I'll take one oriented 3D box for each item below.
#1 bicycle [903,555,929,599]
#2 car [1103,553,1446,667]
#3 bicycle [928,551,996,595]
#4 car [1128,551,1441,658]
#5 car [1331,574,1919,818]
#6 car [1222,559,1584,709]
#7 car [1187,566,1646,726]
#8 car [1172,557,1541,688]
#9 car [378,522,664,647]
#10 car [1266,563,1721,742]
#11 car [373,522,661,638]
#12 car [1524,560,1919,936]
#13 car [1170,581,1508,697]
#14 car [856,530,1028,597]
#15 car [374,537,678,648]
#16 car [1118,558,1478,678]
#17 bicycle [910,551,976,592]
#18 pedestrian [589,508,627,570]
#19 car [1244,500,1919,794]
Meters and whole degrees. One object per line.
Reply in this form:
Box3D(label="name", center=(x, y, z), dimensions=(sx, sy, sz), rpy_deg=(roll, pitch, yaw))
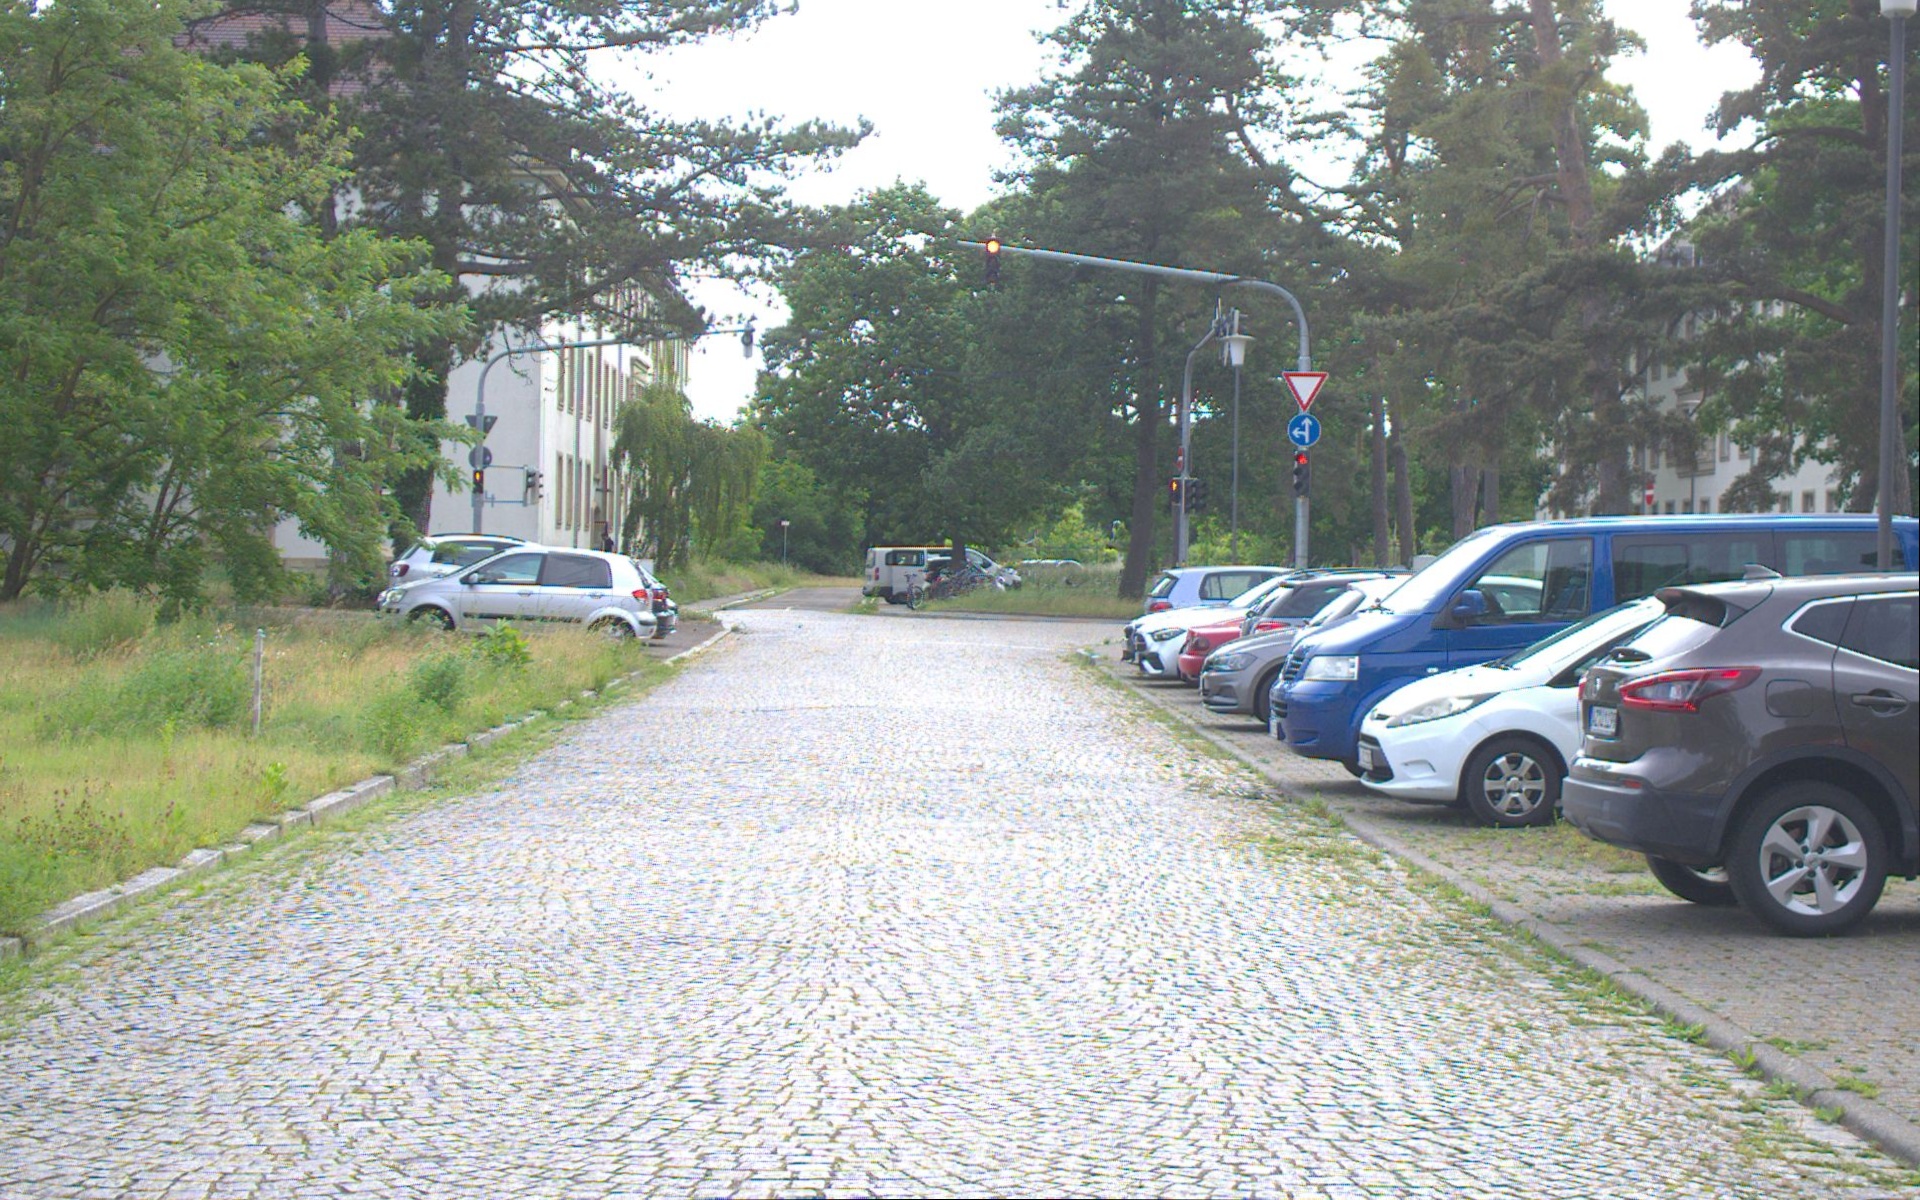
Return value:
Box3D(label="bicycle", center=(-1.230, -0.651, 95.801), dimensions=(0.663, 1.167, 1.888), rpy_deg=(3, 1, -1))
Box3D(label="car", center=(4.173, 0.127, 45.816), dimensions=(4.227, 1.474, 1.710), rpy_deg=(0, 1, -11))
Box3D(label="bicycle", center=(0.056, -0.791, 100.446), dimensions=(1.881, 1.167, 0.665), rpy_deg=(3, 1, -6))
Box3D(label="car", center=(4.535, 0.054, 48.372), dimensions=(4.134, 1.458, 1.634), rpy_deg=(0, 1, -6))
Box3D(label="car", center=(4.568, 0.594, 22.098), dimensions=(4.097, 1.473, 1.722), rpy_deg=(0, 1, -4))
Box3D(label="car", center=(4.558, 0.335, 35.723), dimensions=(3.505, 1.482, 1.743), rpy_deg=(0, 1, -1))
Box3D(label="car", center=(4.303, 0.420, 32.854), dimensions=(4.130, 1.442, 1.766), rpy_deg=(0, 1, 0))
Box3D(label="car", center=(4.651, 0.252, 40.692), dimensions=(4.104, 1.471, 1.685), rpy_deg=(0, 1, -2))
Box3D(label="car", center=(-6.006, -0.224, 47.338), dimensions=(3.720, 1.475, 1.673), rpy_deg=(3, 1, -3))
Box3D(label="car", center=(4.590, 0.433, 29.951), dimensions=(3.653, 1.473, 1.766), rpy_deg=(0, 1, -1))
Box3D(label="car", center=(-6.764, -0.316, 52.733), dimensions=(4.297, 1.726, 1.653), rpy_deg=(0, 1, -6))
Box3D(label="car", center=(4.882, 0.632, 15.743), dimensions=(4.203, 1.589, 1.953), rpy_deg=(0, 1, -3))
Box3D(label="car", center=(4.186, 0.421, 38.347), dimensions=(3.586, 1.218, 1.628), rpy_deg=(0, 1, 1))
Box3D(label="car", center=(-0.622, -1.231, 115.242), dimensions=(5.374, 2.094, 2.179), rpy_deg=(1, 1, -13))
Box3D(label="car", center=(-6.285, -0.121, 49.935), dimensions=(4.297, 1.548, 1.812), rpy_deg=(0, 1, -6))
Box3D(label="car", center=(4.200, 0.216, 43.050), dimensions=(4.184, 1.432, 1.756), rpy_deg=(0, 1, -8))
Box3D(label="bicycle", center=(-0.509, -0.860, 103.938), dimensions=(1.881, 1.167, 0.665), rpy_deg=(3, 1, -6))
Box3D(label="pedestrian", center=(-11.554, -2.002, 112.831), dimensions=(1.074, 1.952, 1.121), rpy_deg=(3, 1, -1))
Box3D(label="car", center=(4.553, 0.307, 24.639), dimensions=(4.795, 1.997, 1.966), rpy_deg=(0, 1, -3))
